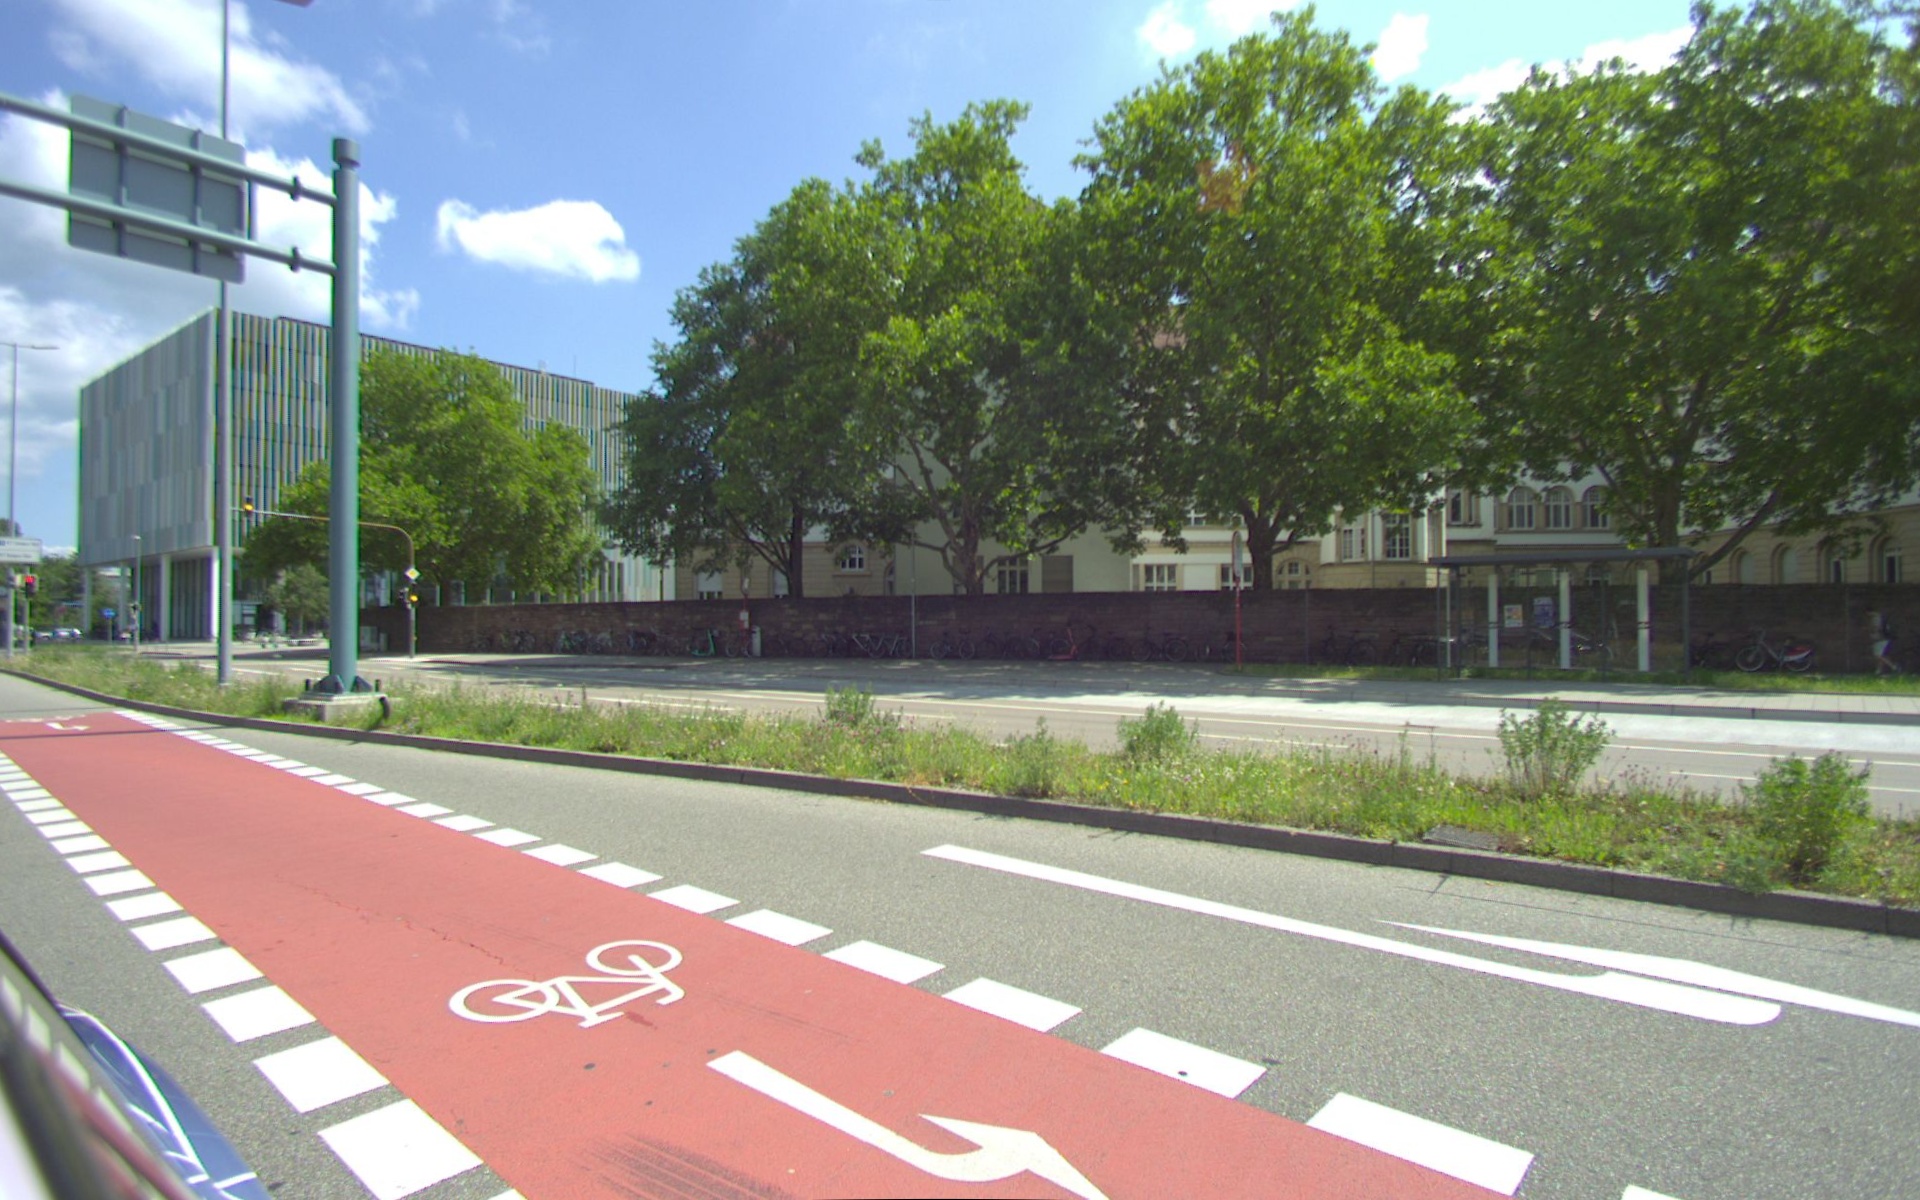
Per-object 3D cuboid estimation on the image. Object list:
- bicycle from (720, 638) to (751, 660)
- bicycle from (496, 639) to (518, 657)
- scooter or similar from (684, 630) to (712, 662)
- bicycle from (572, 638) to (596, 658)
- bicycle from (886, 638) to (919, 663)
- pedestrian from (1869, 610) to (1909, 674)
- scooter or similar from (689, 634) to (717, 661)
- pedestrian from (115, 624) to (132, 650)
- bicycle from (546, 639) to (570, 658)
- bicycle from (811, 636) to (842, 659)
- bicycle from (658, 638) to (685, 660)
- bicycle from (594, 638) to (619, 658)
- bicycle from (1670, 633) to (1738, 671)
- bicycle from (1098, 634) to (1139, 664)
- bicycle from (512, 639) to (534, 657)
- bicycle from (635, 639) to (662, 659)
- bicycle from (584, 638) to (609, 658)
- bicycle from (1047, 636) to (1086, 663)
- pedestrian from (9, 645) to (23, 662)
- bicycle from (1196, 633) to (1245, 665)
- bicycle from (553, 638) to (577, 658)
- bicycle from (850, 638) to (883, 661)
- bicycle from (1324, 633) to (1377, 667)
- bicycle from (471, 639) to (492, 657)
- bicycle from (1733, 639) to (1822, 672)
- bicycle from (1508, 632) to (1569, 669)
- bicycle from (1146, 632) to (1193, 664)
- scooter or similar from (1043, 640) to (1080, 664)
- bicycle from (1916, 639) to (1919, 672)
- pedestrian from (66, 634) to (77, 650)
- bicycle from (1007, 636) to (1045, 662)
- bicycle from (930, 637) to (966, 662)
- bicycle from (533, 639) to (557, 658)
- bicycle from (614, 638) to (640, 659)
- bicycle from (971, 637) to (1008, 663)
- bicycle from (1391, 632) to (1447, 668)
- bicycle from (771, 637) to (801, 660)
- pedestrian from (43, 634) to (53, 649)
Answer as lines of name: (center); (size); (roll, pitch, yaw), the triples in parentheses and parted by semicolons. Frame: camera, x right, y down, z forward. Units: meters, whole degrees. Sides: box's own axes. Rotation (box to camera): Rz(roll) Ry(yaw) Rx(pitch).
bicycle: (-8.631, 1.885, 38.947); (1.226, 0.837, 0.263); (-1, -2, 19)
bicycle: (-21.037, 2.210, 46.966); (1.231, 0.837, 0.262); (-2, -2, 30)
scooter or similar: (-10.081, 1.759, 38.903); (1.230, 1.199, 0.262); (-1, -2, 29)
bicycle: (-16.251, 2.081, 43.724); (1.231, 0.837, 0.262); (-2, -2, 30)
bicycle: (-2.000, 1.750, 35.113); (1.231, 0.837, 0.262); (-1, -2, 30)
pedestrian: (21.933, 0.982, 23.907); (0.633, 1.484, 0.504); (-2, -2, 39)
scooter or similar: (-10.129, 1.876, 39.916); (1.133, 1.028, 0.264); (-1, -2, 19)
pedestrian: (-67.015, 2.941, 81.121); (0.994, 2.029, 0.853); (-2, -2, 39)
bicycle: (-17.461, 2.098, 43.973); (1.230, 0.837, 0.262); (-1, -2, 29)
bicycle: (-4.875, 1.726, 36.855); (1.231, 0.837, 0.262); (-1, -2, 30)
bicycle: (-11.552, 1.966, 40.578); (1.231, 0.837, 0.262); (-2, -2, 30)
bicycle: (-14.968, 2.015, 42.879); (1.231, 0.837, 0.262); (-2, -2, 30)
bicycle: (19.246, 1.345, 26.189); (1.384, 0.972, 0.263); (-1, -2, 18)
bicycle: (4.944, 1.521, 31.561); (1.230, 0.915, 0.262); (-1, -2, 28)
bicycle: (-19.956, 2.185, 46.196); (1.230, 0.837, 0.262); (-1, -2, 29)
bicycle: (-12.752, 2.004, 41.419); (1.231, 0.837, 0.262); (-2, -2, 30)
bicycle: (-15.300, 2.003, 42.583); (1.230, 0.837, 0.262); (-1, -2, 29)
bicycle: (3.423, 1.593, 32.454); (1.230, 0.837, 0.262); (-1, -2, 28)
pedestrian: (-93.894, 5.334, 100.668); (0.994, 1.669, 0.853); (-2, -2, 39)
bicycle: (7.820, 1.469, 30.412); (1.389, 0.972, 0.262); (-1, -2, 28)
bicycle: (-17.390, 2.110, 44.558); (1.230, 0.837, 0.262); (-1, -2, 29)
bicycle: (-3.323, 1.752, 35.880); (1.231, 0.837, 0.262); (-1, -2, 30)
bicycle: (11.193, 1.426, 29.028); (1.384, 0.972, 0.263); (-1, -2, 18)
bicycle: (-22.675, 2.280, 47.957); (1.231, 0.837, 0.262); (-2, -2, 30)
bicycle: (20.758, 1.405, 25.715); (1.734, 0.823, 0.327); (-1, -2, 18)
bicycle: (15.644, 1.368, 27.383); (1.384, 0.972, 0.263); (-1, -2, 18)
bicycle: (6.414, 1.475, 31.032); (1.385, 0.972, 0.263); (-1, -2, 20)
scooter or similar: (3.200, 1.628, 31.829); (1.133, 0.734, 0.264); (-1, -2, 18)
bicycle: (24.454, 1.356, 24.596); (1.734, 0.823, 0.382); (-1, -2, 18)
pedestrian: (-83.164, 3.928, 94.708); (0.689, 1.464, 0.687); (-2, -3, 44)
bicycle: (2.147, 1.609, 33.065); (1.230, 0.837, 0.262); (-1, -2, 28)
bicycle: (-0.407, 1.671, 34.254); (1.230, 0.837, 0.262); (-1, -2, 28)
bicycle: (-18.579, 2.161, 45.308); (1.230, 0.837, 0.262); (-1, -2, 29)
bicycle: (-13.885, 2.025, 42.190); (1.231, 0.837, 0.262); (-2, -2, 30)
bicycle: (0.975, 1.659, 33.715); (1.230, 0.837, 0.262); (-1, -2, 28)
bicycle: (12.878, 1.404, 28.414); (1.384, 0.972, 0.263); (-1, -2, 18)
bicycle: (-6.455, 1.809, 37.564); (1.231, 0.837, 0.262); (-1, -2, 30)
pedestrian: (-88.972, 4.046, 98.693); (0.686, 1.464, 0.689); (1, -3, -45)
